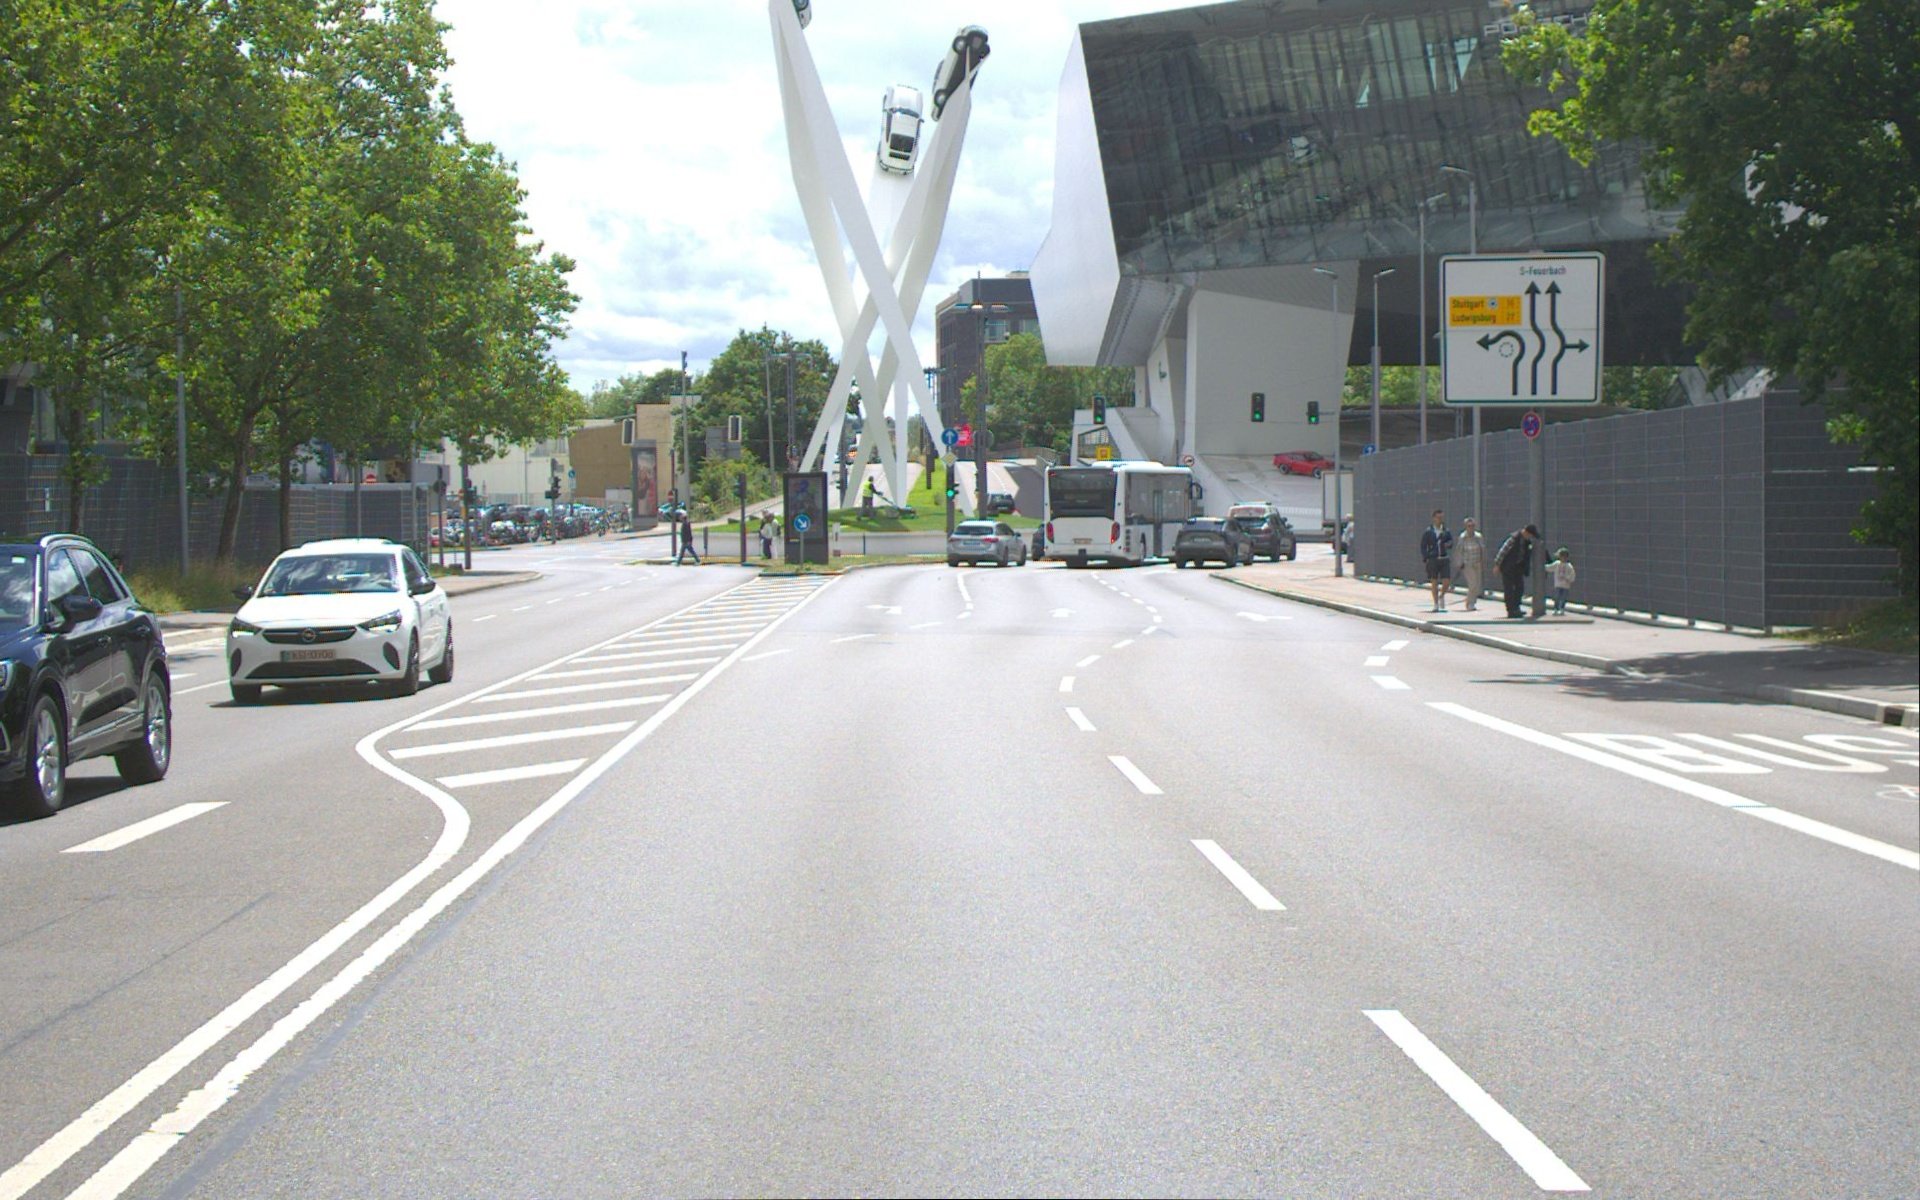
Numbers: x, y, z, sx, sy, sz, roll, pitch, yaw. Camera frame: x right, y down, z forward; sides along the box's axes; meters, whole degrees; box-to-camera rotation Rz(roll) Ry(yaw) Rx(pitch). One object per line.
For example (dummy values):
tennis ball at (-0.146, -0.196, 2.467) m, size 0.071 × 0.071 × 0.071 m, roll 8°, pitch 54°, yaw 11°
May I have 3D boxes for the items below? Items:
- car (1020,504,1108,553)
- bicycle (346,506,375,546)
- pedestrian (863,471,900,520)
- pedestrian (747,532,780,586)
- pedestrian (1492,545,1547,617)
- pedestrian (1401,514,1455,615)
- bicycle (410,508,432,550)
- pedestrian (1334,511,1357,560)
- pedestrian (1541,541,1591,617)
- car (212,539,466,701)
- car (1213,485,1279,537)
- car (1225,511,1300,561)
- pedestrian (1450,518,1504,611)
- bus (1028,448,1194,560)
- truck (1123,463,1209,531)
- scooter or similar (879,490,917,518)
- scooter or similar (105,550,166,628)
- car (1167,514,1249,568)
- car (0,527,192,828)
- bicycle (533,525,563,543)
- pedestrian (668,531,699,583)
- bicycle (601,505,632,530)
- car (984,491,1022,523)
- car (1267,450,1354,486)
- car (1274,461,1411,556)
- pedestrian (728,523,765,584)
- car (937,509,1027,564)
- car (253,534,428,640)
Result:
car at (3.682, -2.499, 121.113) m, size 1.995 × 1.631 × 3.996 m, roll 1°, pitch 1°, yaw 18°
bicycle at (-15.196, -1.869, 87.126) m, size 0.296 × 1.002 × 1.251 m, roll 1°, pitch 1°, yaw 10°
pedestrian at (-3.063, -4.096, 134.401) m, size 1.281 × 1.810 × 0.987 m, roll -4°, pitch 5°, yaw -6°
pedestrian at (-6.462, -1.358, 113.051) m, size 0.863 × 1.767 × 1.036 m, roll 1°, pitch 1°, yaw -14°
pedestrian at (8.993, -0.306, 55.267) m, size 0.757 × 1.145 × 0.971 m, roll 1°, pitch 1°, yaw 3°
pedestrian at (8.054, -0.615, 59.124) m, size 0.794 × 1.715 × 0.732 m, roll 1°, pitch 0°, yaw -1°
bicycle at (-14.662, -1.931, 93.555) m, size 0.296 × 1.127 × 1.485 m, roll 1°, pitch 1°, yaw 3°
pedestrian at (12.802, -2.150, 114.180) m, size 0.660 × 1.602 × 0.822 m, roll 1°, pitch 0°, yaw 11°
pedestrian at (9.775, -0.335, 55.447) m, size 0.714 × 1.202 × 0.598 m, roll 1°, pitch 0°, yaw 4°
car at (-5.979, 0.149, 33.536) m, size 1.691 × 1.410 × 4.146 m, roll -2°, pitch 1°, yaw 0°
car at (11.225, -3.459, 134.530) m, size 1.995 × 1.926 × 4.238 m, roll 1°, pitch 1°, yaw 13°
car at (10.229, -2.143, 115.986) m, size 1.995 × 1.631 × 3.998 m, roll 1°, pitch 1°, yaw 13°
pedestrian at (8.892, -0.609, 59.144) m, size 0.794 × 1.591 × 0.732 m, roll 1°, pitch 0°, yaw -1°
bus at (5.050, -3.035, 111.995) m, size 3.074 × 3.350 × 12.215 m, roll 1°, pitch 1°, yaw 14°
truck at (8.015, -3.978, 133.383) m, size 2.209 × 2.507 × 5.129 m, roll 1°, pitch 1°, yaw 16°
scooter or similar at (-2.435, -3.763, 134.668) m, size 1.400 × 1.022 × 0.550 m, roll -3°, pitch 7°, yaw -5°
scooter or similar at (-13.623, -0.195, 56.832) m, size 0.523 × 1.230 × 1.317 m, roll 3°, pitch 2°, yaw 6°
car at (7.842, -1.875, 108.381) m, size 1.995 × 1.631 × 3.998 m, roll 1°, pitch 2°, yaw 13°
car at (-5.881, 0.404, 20.127) m, size 1.740 × 1.575 × 4.267 m, roll -2°, pitch 1°, yaw 0°
bicycle at (-21.337, -3.409, 178.169) m, size 0.492 × 0.863 × 1.607 m, roll 1°, pitch 4°, yaw 41°
pedestrian at (-9.438, -1.478, 117.320) m, size 0.863 × 1.767 × 1.036 m, roll 1°, pitch 1°, yaw -14°
bicycle at (-18.451, -4.406, 184.638) m, size 1.605 × 1.312 × 0.493 m, roll 1°, pitch 0°, yaw -1°
car at (2.370, -5.157, 189.324) m, size 1.993 × 1.630 × 4.656 m, roll 1°, pitch 3°, yaw 1°
car at (19.202, -7.257, 188.595) m, size 1.995 × 1.390 × 4.511 m, roll -7°, pitch 12°, yaw -43°
car at (14.932, -3.506, 133.611) m, size 3.338 × 3.492 × 9.333 m, roll 1°, pitch 1°, yaw 19°
pedestrian at (-7.210, -1.557, 116.093) m, size 0.953 × 2.048 × 0.950 m, roll 1°, pitch 1°, yaw 19°
car at (0.713, -1.979, 107.905) m, size 1.995 × 1.631 × 3.998 m, roll 1°, pitch 1°, yaw 13°
car at (-9.655, -0.235, 53.844) m, size 1.878 × 1.500 × 4.191 m, roll -2°, pitch 2°, yaw 1°
